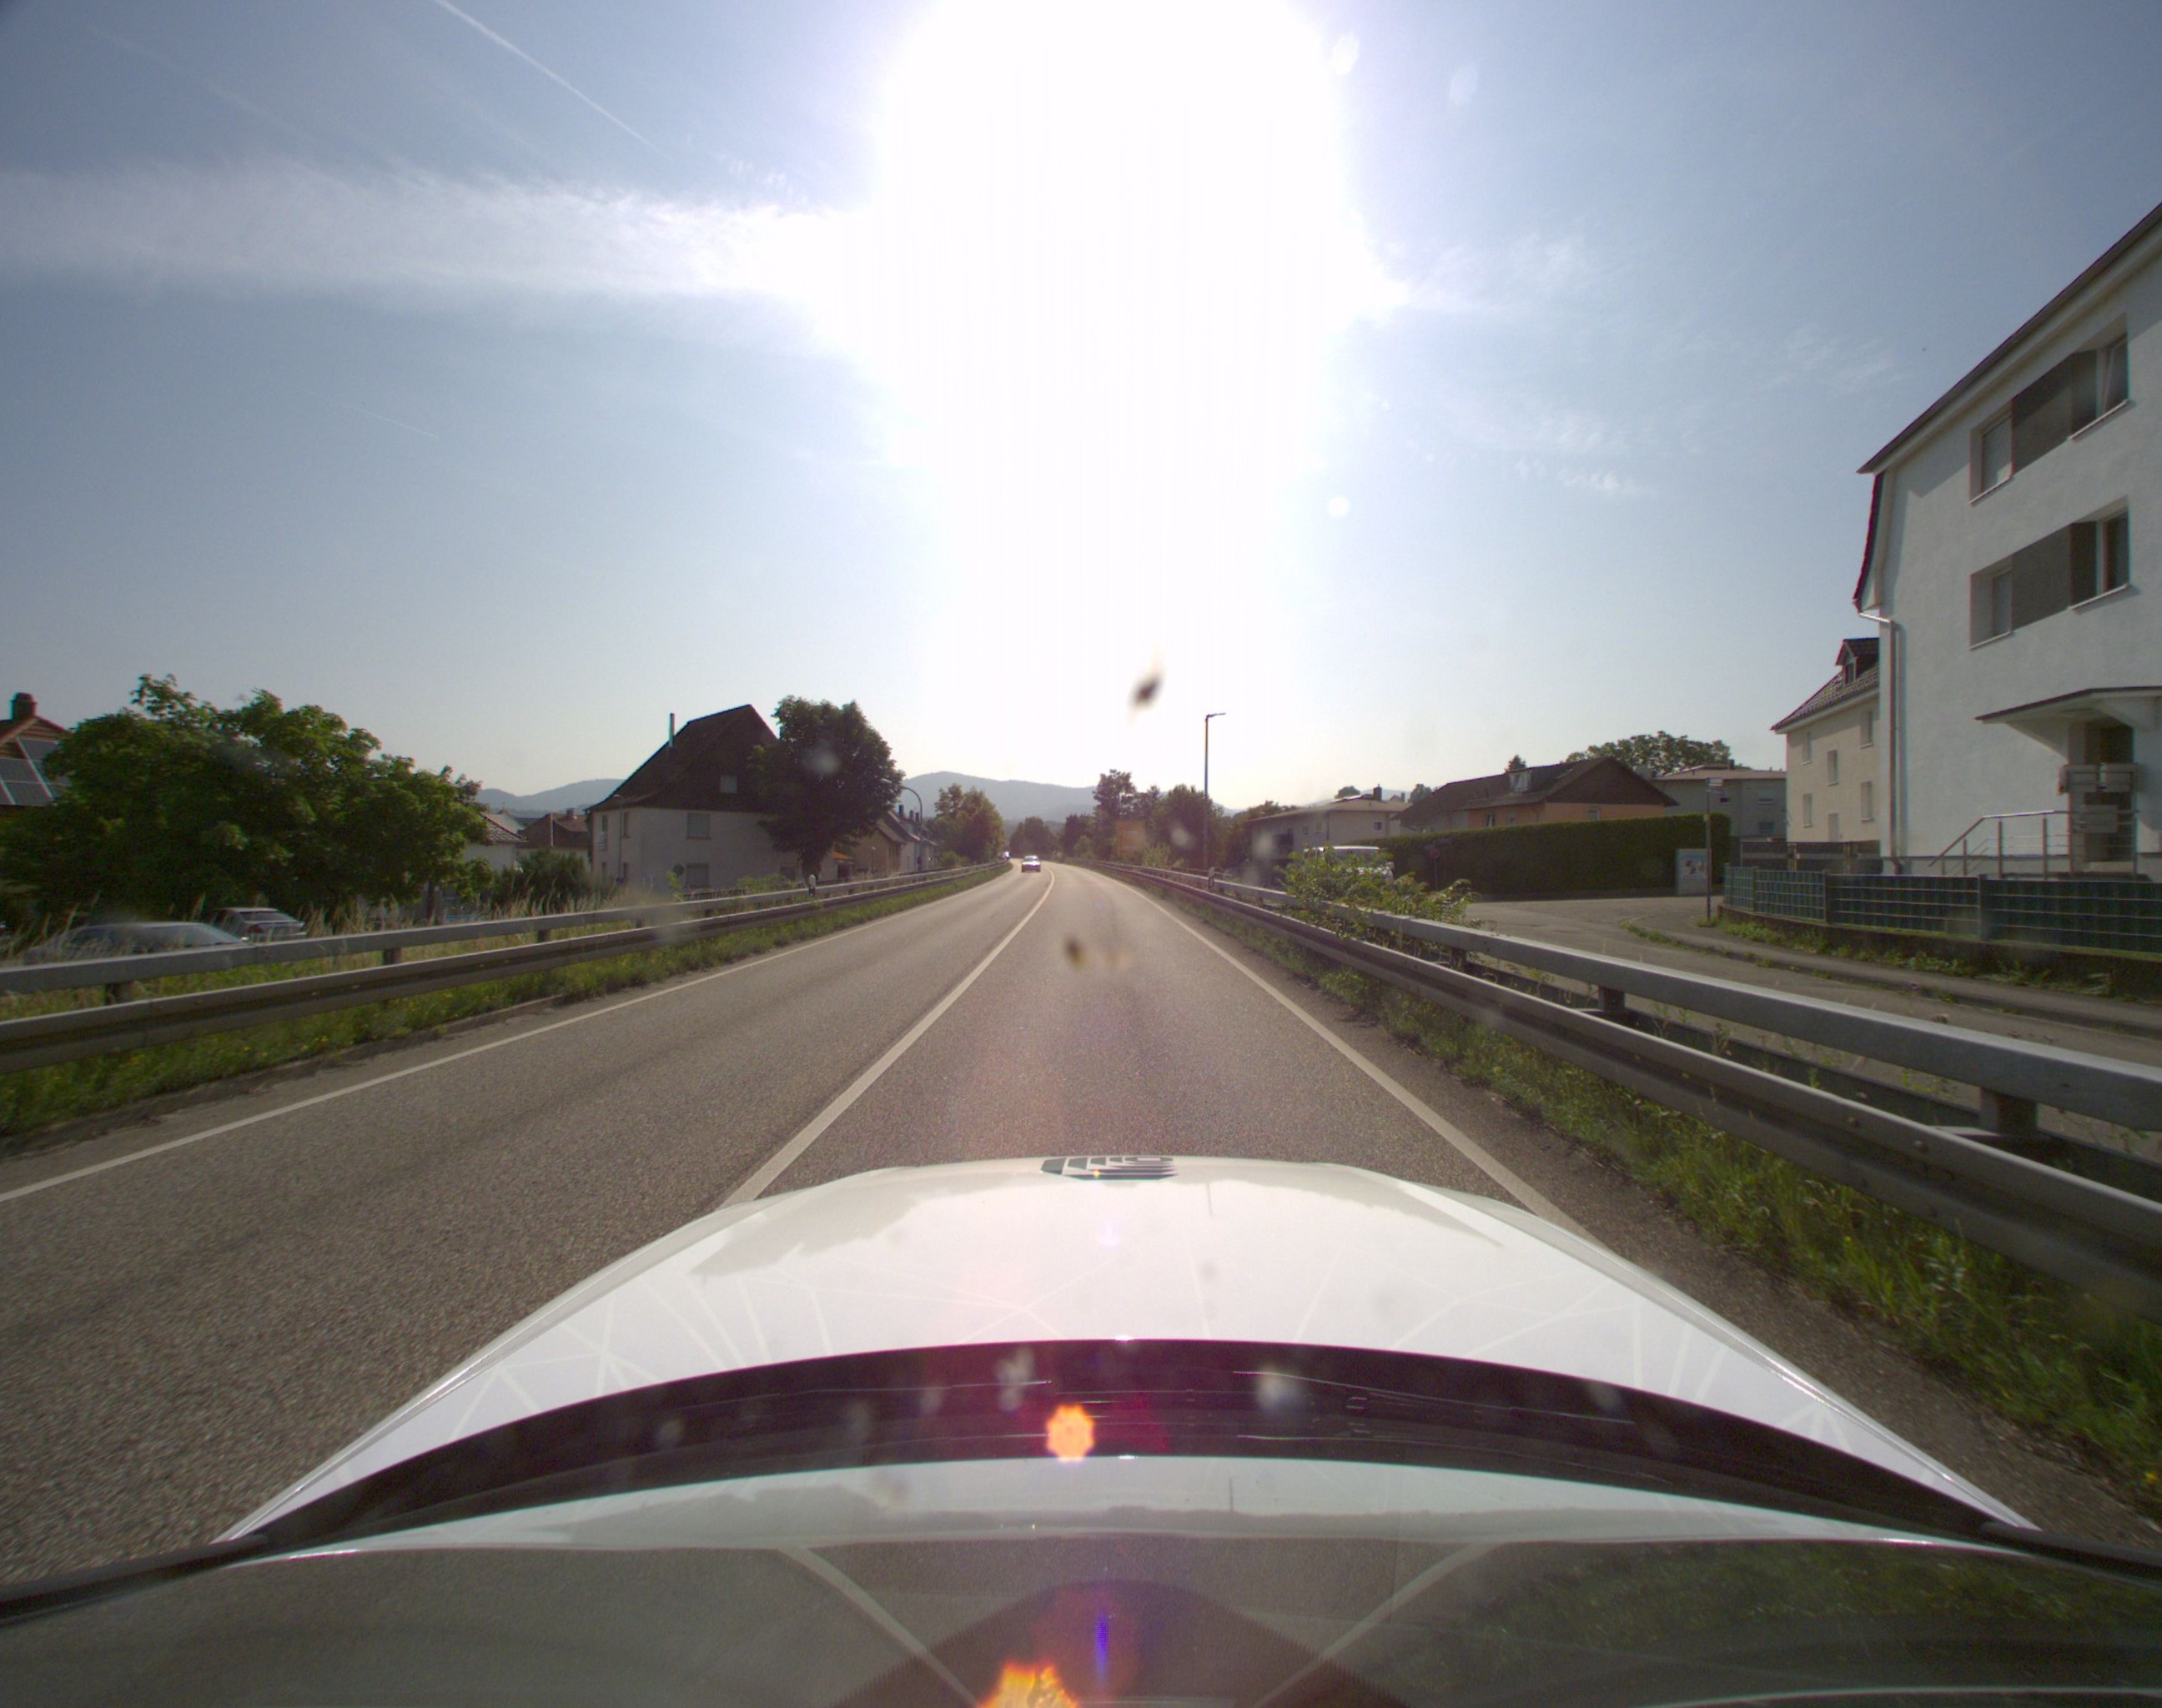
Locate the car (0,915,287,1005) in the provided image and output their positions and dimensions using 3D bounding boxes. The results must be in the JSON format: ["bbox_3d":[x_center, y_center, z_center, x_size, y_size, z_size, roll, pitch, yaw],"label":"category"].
[{"bbox_3d":[-18.511,2.024,15.904,4.281,1.504,1.876,-1,0,3],"label":"car"}]

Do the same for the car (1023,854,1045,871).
[{"bbox_3d":[-4.213,0.768,73.191,1.753,1.410,3.988,-2,0,-1],"label":"car"}]

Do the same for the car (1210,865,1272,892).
[{"bbox_3d":[16.608,2.608,84.792,6.059,2.688,2.310,1,-4,-3],"label":"car"}]

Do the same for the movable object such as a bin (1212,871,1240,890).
[{"bbox_3d":[16.470,2.987,92.480,2.777,2.014,1.586,1,0,-3],"label":"movable object such as a bin"}]

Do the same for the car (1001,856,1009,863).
[{"bbox_3d":[-17.729,1.193,189.795,1.805,1.561,3.985,-2,0,-5],"label":"car"}]

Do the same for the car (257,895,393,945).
[{"bbox_3d":[-29.950,2.563,32.304,4.129,1.634,1.868,3,-2,13],"label":"car"}]

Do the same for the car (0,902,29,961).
[{"bbox_3d":[-33.260,2.197,23.411,4.526,1.634,1.868,0,-3,13],"label":"car"}]

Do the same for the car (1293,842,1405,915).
[{"bbox_3d":[7.903,0.665,24.569,1.984,1.945,5.367,-1,0,4],"label":"car"}]

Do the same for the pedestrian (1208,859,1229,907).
[{"bbox_3d":[5.955,1.243,35.353,0.784,2.014,0.998,-1,0,2],"label":"pedestrian"}]

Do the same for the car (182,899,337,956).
[{"bbox_3d":[-29.437,2.593,29.206,4.523,1.634,1.869,3,-2,17],"label":"car"}]

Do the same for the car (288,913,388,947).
[{"bbox_3d":[-37.087,3.785,40.684,3.806,1.439,1.761,-3,0,13],"label":"car"}]
